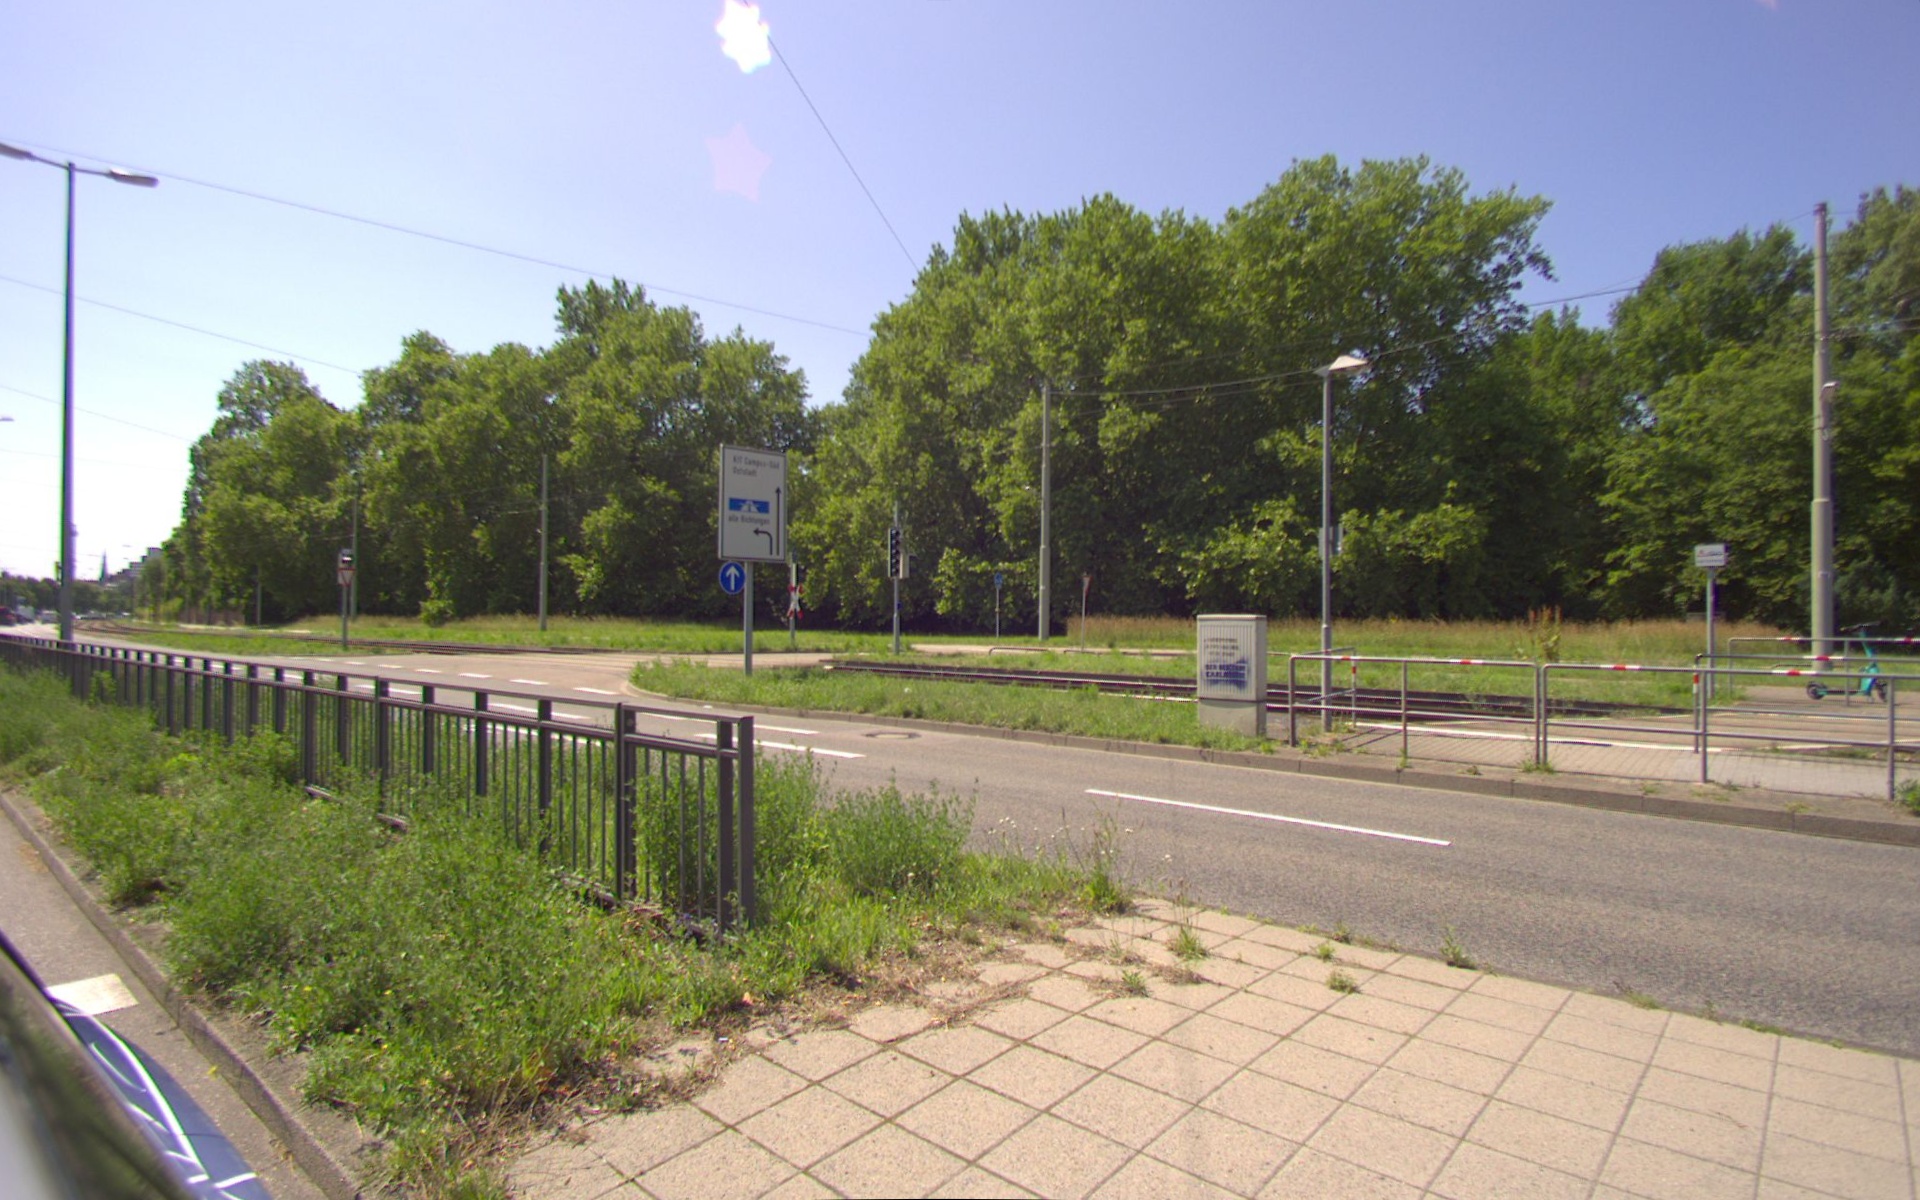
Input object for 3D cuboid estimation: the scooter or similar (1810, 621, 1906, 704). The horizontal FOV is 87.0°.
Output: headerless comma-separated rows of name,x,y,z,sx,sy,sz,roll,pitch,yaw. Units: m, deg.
scooter or similar,14.216,0.967,16.051,1.100,1.246,0.761,-1,0,41
